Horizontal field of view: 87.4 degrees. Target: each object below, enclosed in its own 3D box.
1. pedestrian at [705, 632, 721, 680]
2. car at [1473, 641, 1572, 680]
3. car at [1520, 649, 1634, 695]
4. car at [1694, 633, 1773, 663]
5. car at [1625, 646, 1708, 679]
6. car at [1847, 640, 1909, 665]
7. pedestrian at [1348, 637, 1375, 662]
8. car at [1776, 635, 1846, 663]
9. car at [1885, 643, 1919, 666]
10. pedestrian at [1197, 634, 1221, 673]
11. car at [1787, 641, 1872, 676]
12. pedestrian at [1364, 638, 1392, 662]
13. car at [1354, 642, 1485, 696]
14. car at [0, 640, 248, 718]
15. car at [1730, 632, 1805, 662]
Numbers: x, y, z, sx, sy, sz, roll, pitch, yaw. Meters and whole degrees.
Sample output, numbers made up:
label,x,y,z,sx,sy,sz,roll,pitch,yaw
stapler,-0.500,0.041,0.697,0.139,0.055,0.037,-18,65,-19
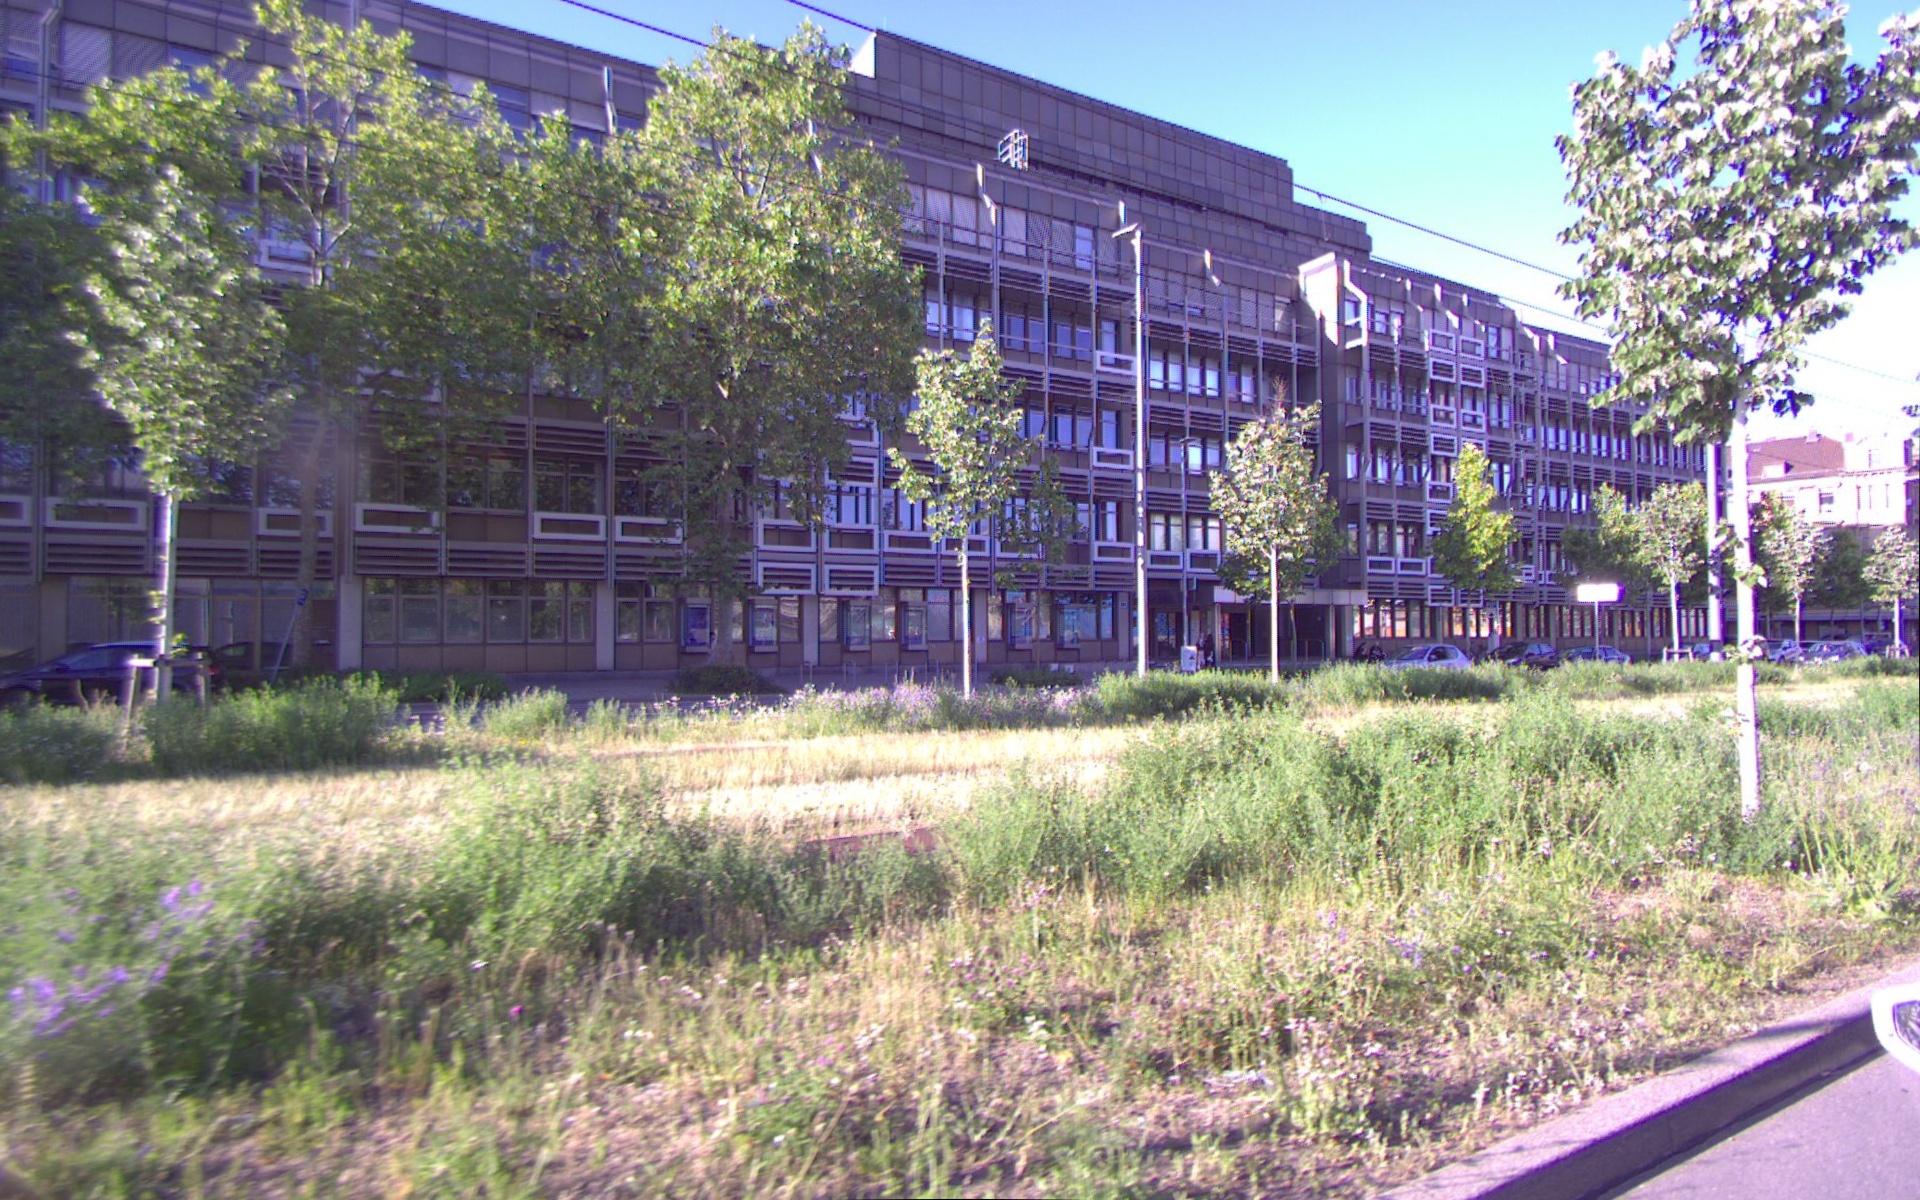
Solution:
label,x,y,z,sx,sy,sz,roll,pitch,yaw
pedestrian,-8.323,1.881,33.841,0.441,1.582,0.407,1,-2,-28
car,24.477,2.589,43.687,4.251,1.596,1.894,1,-3,-31
car,23.342,2.675,37.981,4.360,1.596,1.894,1,-3,-31
car,41.571,2.559,53.970,4.251,1.596,1.894,1,-3,-31
car,36.147,3.161,51.375,4.251,1.596,1.894,1,-3,-31
car,61.186,3.491,66.959,4.251,1.596,1.894,1,-3,-31
pedestrian,19.520,2.414,48.823,0.855,1.184,0.896,1,-2,-31
car,50.580,2.902,59.676,4.251,1.596,1.894,1,-3,-31
car,67.777,3.838,71.358,4.251,1.596,1.894,1,-3,-31
pedestrian,9.883,2.114,39.900,0.642,1.552,0.660,1,-2,-31
car,42.665,2.844,49.284,4.251,1.596,1.894,1,-3,-31
pedestrian,20.592,2.455,49.445,0.888,1.184,0.896,1,-2,-29
car,14.645,2.138,31.983,3.954,1.596,1.894,1,-3,-31
car,-18.901,1.741,22.776,4.224,1.617,1.854,1,-3,-28
car,45.272,2.619,56.307,4.251,1.596,1.894,1,-3,-31
